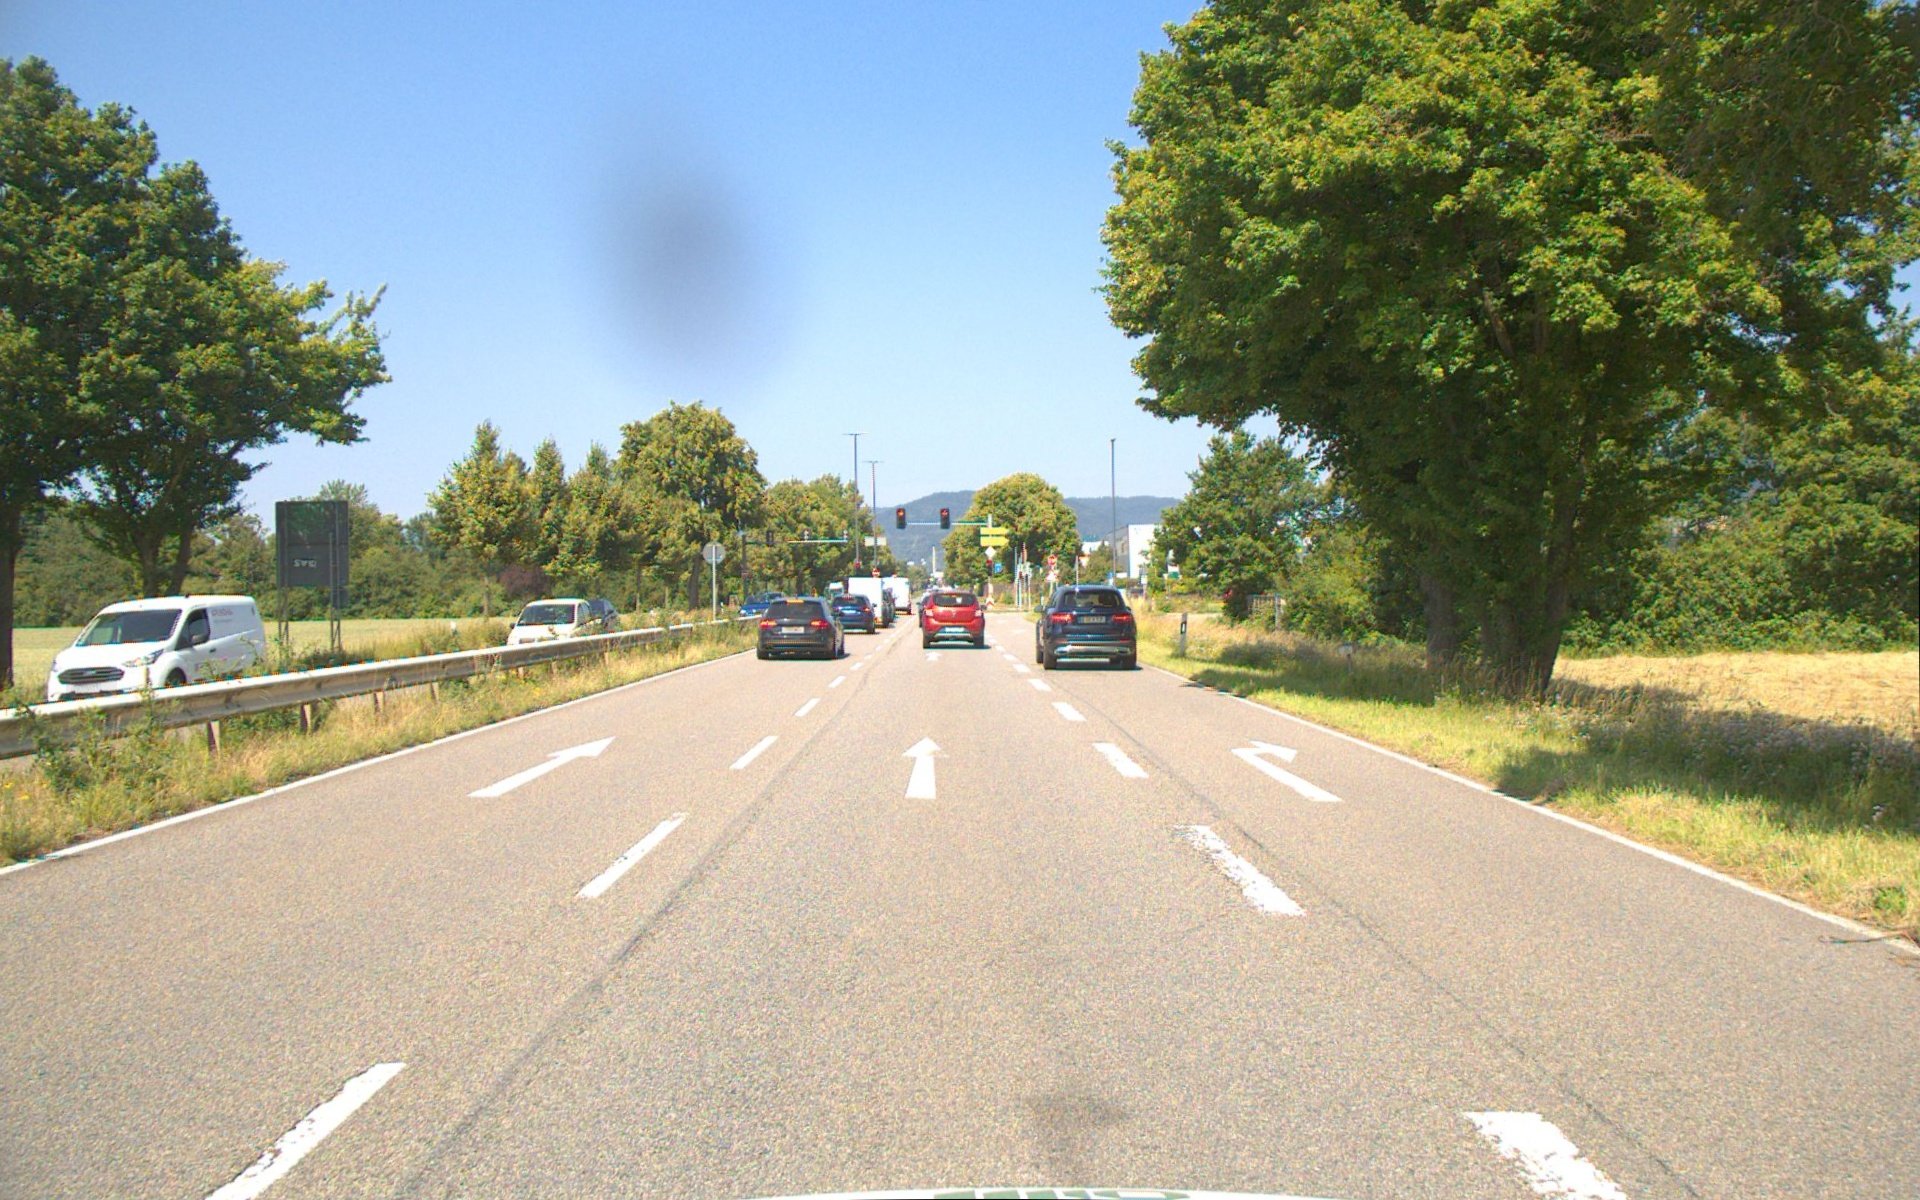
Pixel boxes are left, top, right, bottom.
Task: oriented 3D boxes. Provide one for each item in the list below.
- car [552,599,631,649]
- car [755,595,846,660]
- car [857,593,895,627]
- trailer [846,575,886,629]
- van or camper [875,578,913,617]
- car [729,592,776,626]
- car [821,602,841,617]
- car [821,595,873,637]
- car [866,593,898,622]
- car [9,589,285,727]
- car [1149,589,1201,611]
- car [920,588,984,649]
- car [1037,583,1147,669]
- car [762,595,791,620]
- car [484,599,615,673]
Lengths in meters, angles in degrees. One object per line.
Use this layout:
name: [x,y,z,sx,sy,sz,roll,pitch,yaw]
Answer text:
car: [-13.250,0.845,59.719,1.953,1.692,4.479,-1,0,-1]
car: [-3.646,0.591,38.437,1.705,1.404,4.455,0,0,-1]
car: [-4.131,0.481,81.685,1.688,1.603,3.892,-1,0,0]
trailer: [-3.979,0.090,70.466,1.470,2.211,4.173,-1,0,-1]
van or camper: [-4.202,-0.176,106.004,2.134,2.343,4.827,-2,0,0]
car: [-10.934,0.477,87.474,1.953,1.691,4.479,-1,0,-1]
car: [-13.573,0.992,174.597,1.841,1.480,4.503,-1,0,-1]
car: [-4.087,0.556,60.484,1.682,1.491,4.029,0,0,-1]
car: [-4.489,0.433,95.490,1.689,1.628,3.955,-1,0,0]
car: [-12.897,0.844,26.663,1.952,1.995,4.927,-1,0,1]
car: [16.282,-0.011,125.303,3.736,1.608,2.076,-1,0,10]
car: [-0.190,0.480,45.853,1.713,1.603,3.677,0,0,1]
car: [2.633,0.491,33.897,1.952,1.645,4.340,0,0,1]
car: [-15.432,0.632,138.931,1.953,1.986,4.829,-1,0,-1]
car: [-9.523,0.796,38.737,1.953,1.584,4.480,-1,0,0]
